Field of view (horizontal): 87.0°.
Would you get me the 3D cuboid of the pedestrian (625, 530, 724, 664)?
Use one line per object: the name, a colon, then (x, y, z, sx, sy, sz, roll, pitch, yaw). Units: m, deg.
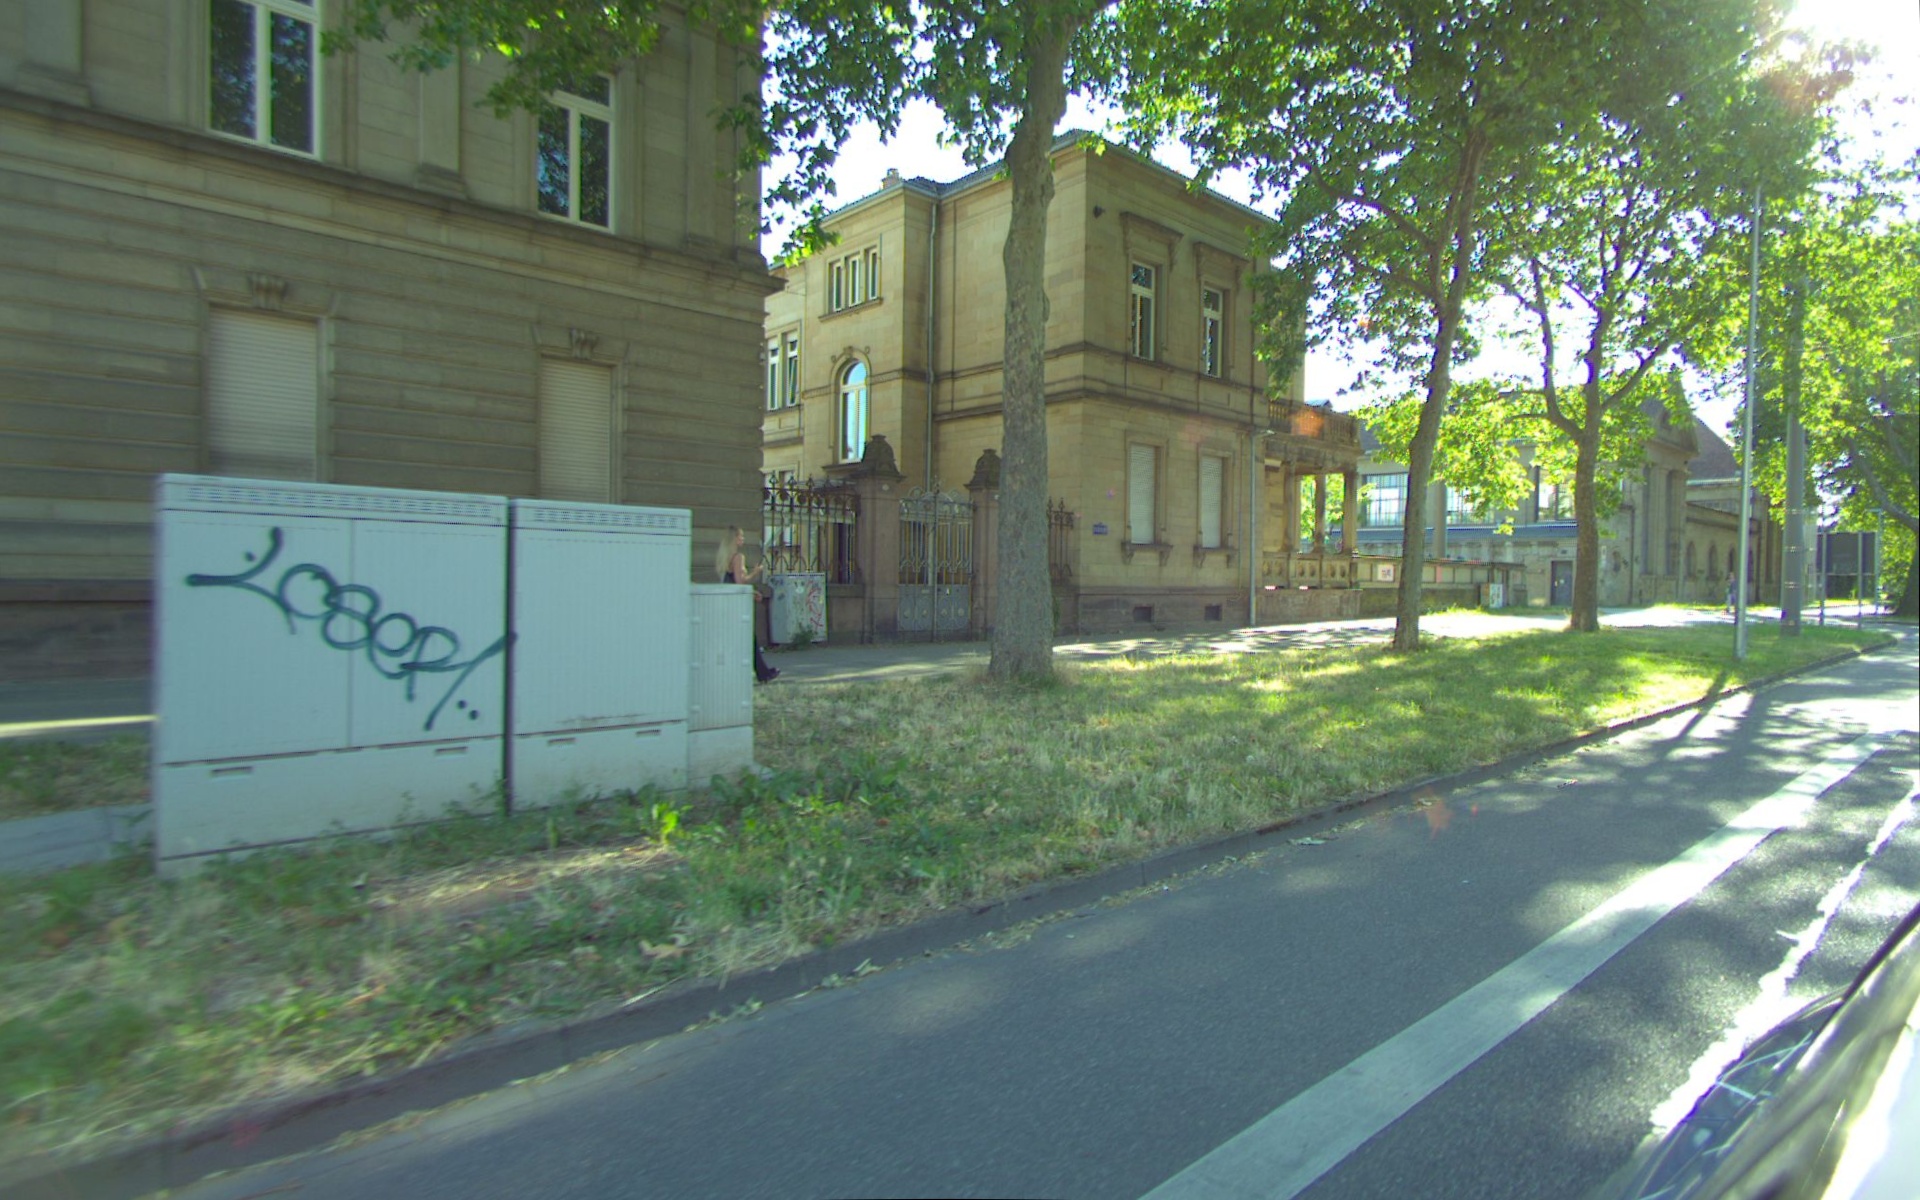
pedestrian: (-3.641, -0.060, 12.896, 0.969, 1.626, 0.771, 0, 2, -40)

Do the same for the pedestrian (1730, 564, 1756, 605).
pedestrian: (33.052, -0.670, 42.712, 0.859, 1.682, 0.672, 0, 3, -40)

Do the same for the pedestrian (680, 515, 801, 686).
pedestrian: (-2.355, -0.012, 10.866, 1.024, 1.730, 0.771, 0, 2, -40)
